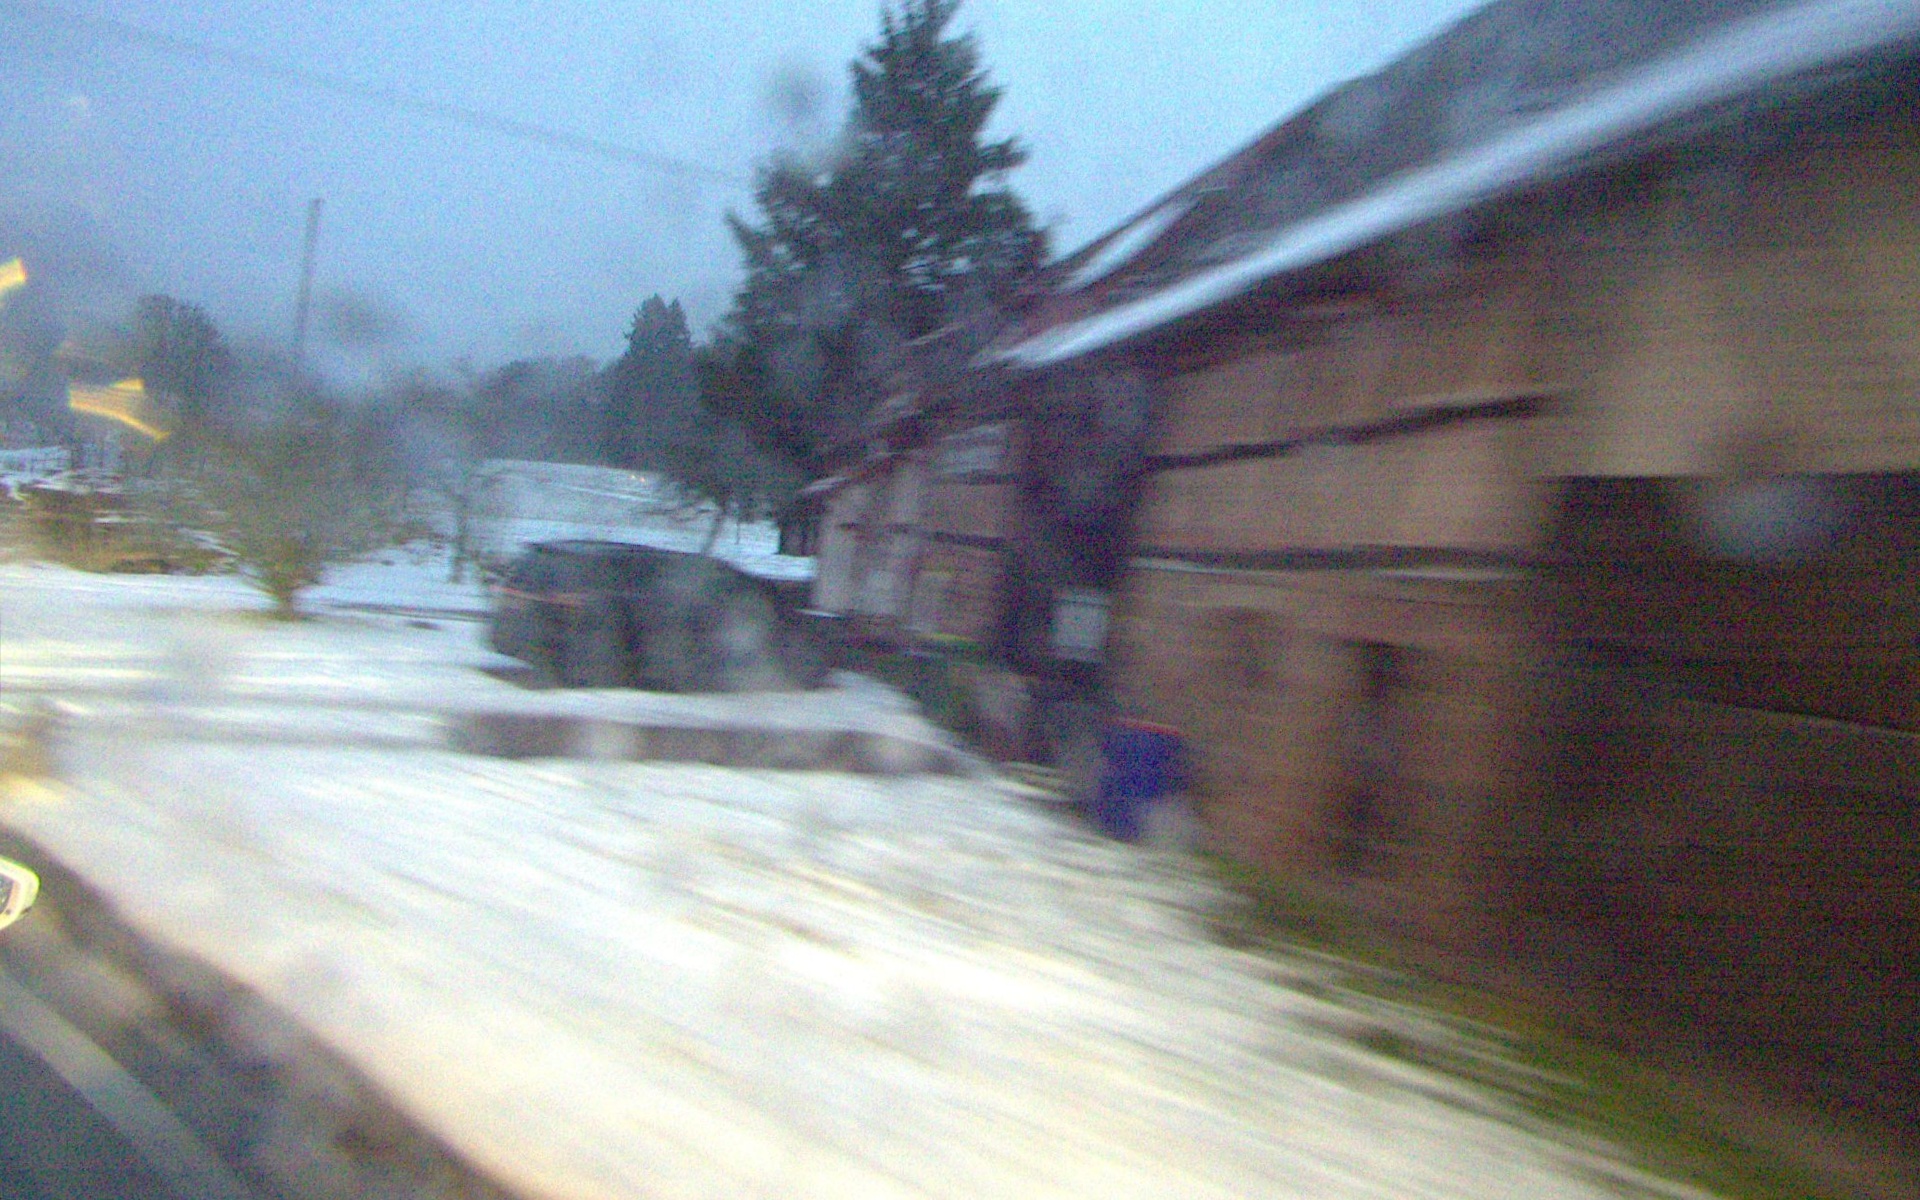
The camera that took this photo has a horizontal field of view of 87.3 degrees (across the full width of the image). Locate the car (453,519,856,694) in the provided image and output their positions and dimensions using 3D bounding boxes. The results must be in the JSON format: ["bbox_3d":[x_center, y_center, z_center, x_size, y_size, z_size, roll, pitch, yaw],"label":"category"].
[{"bbox_3d":[-3.569,0.170,12.471,1.834,1.678,4.391,8,2,39],"label":"car"}]
